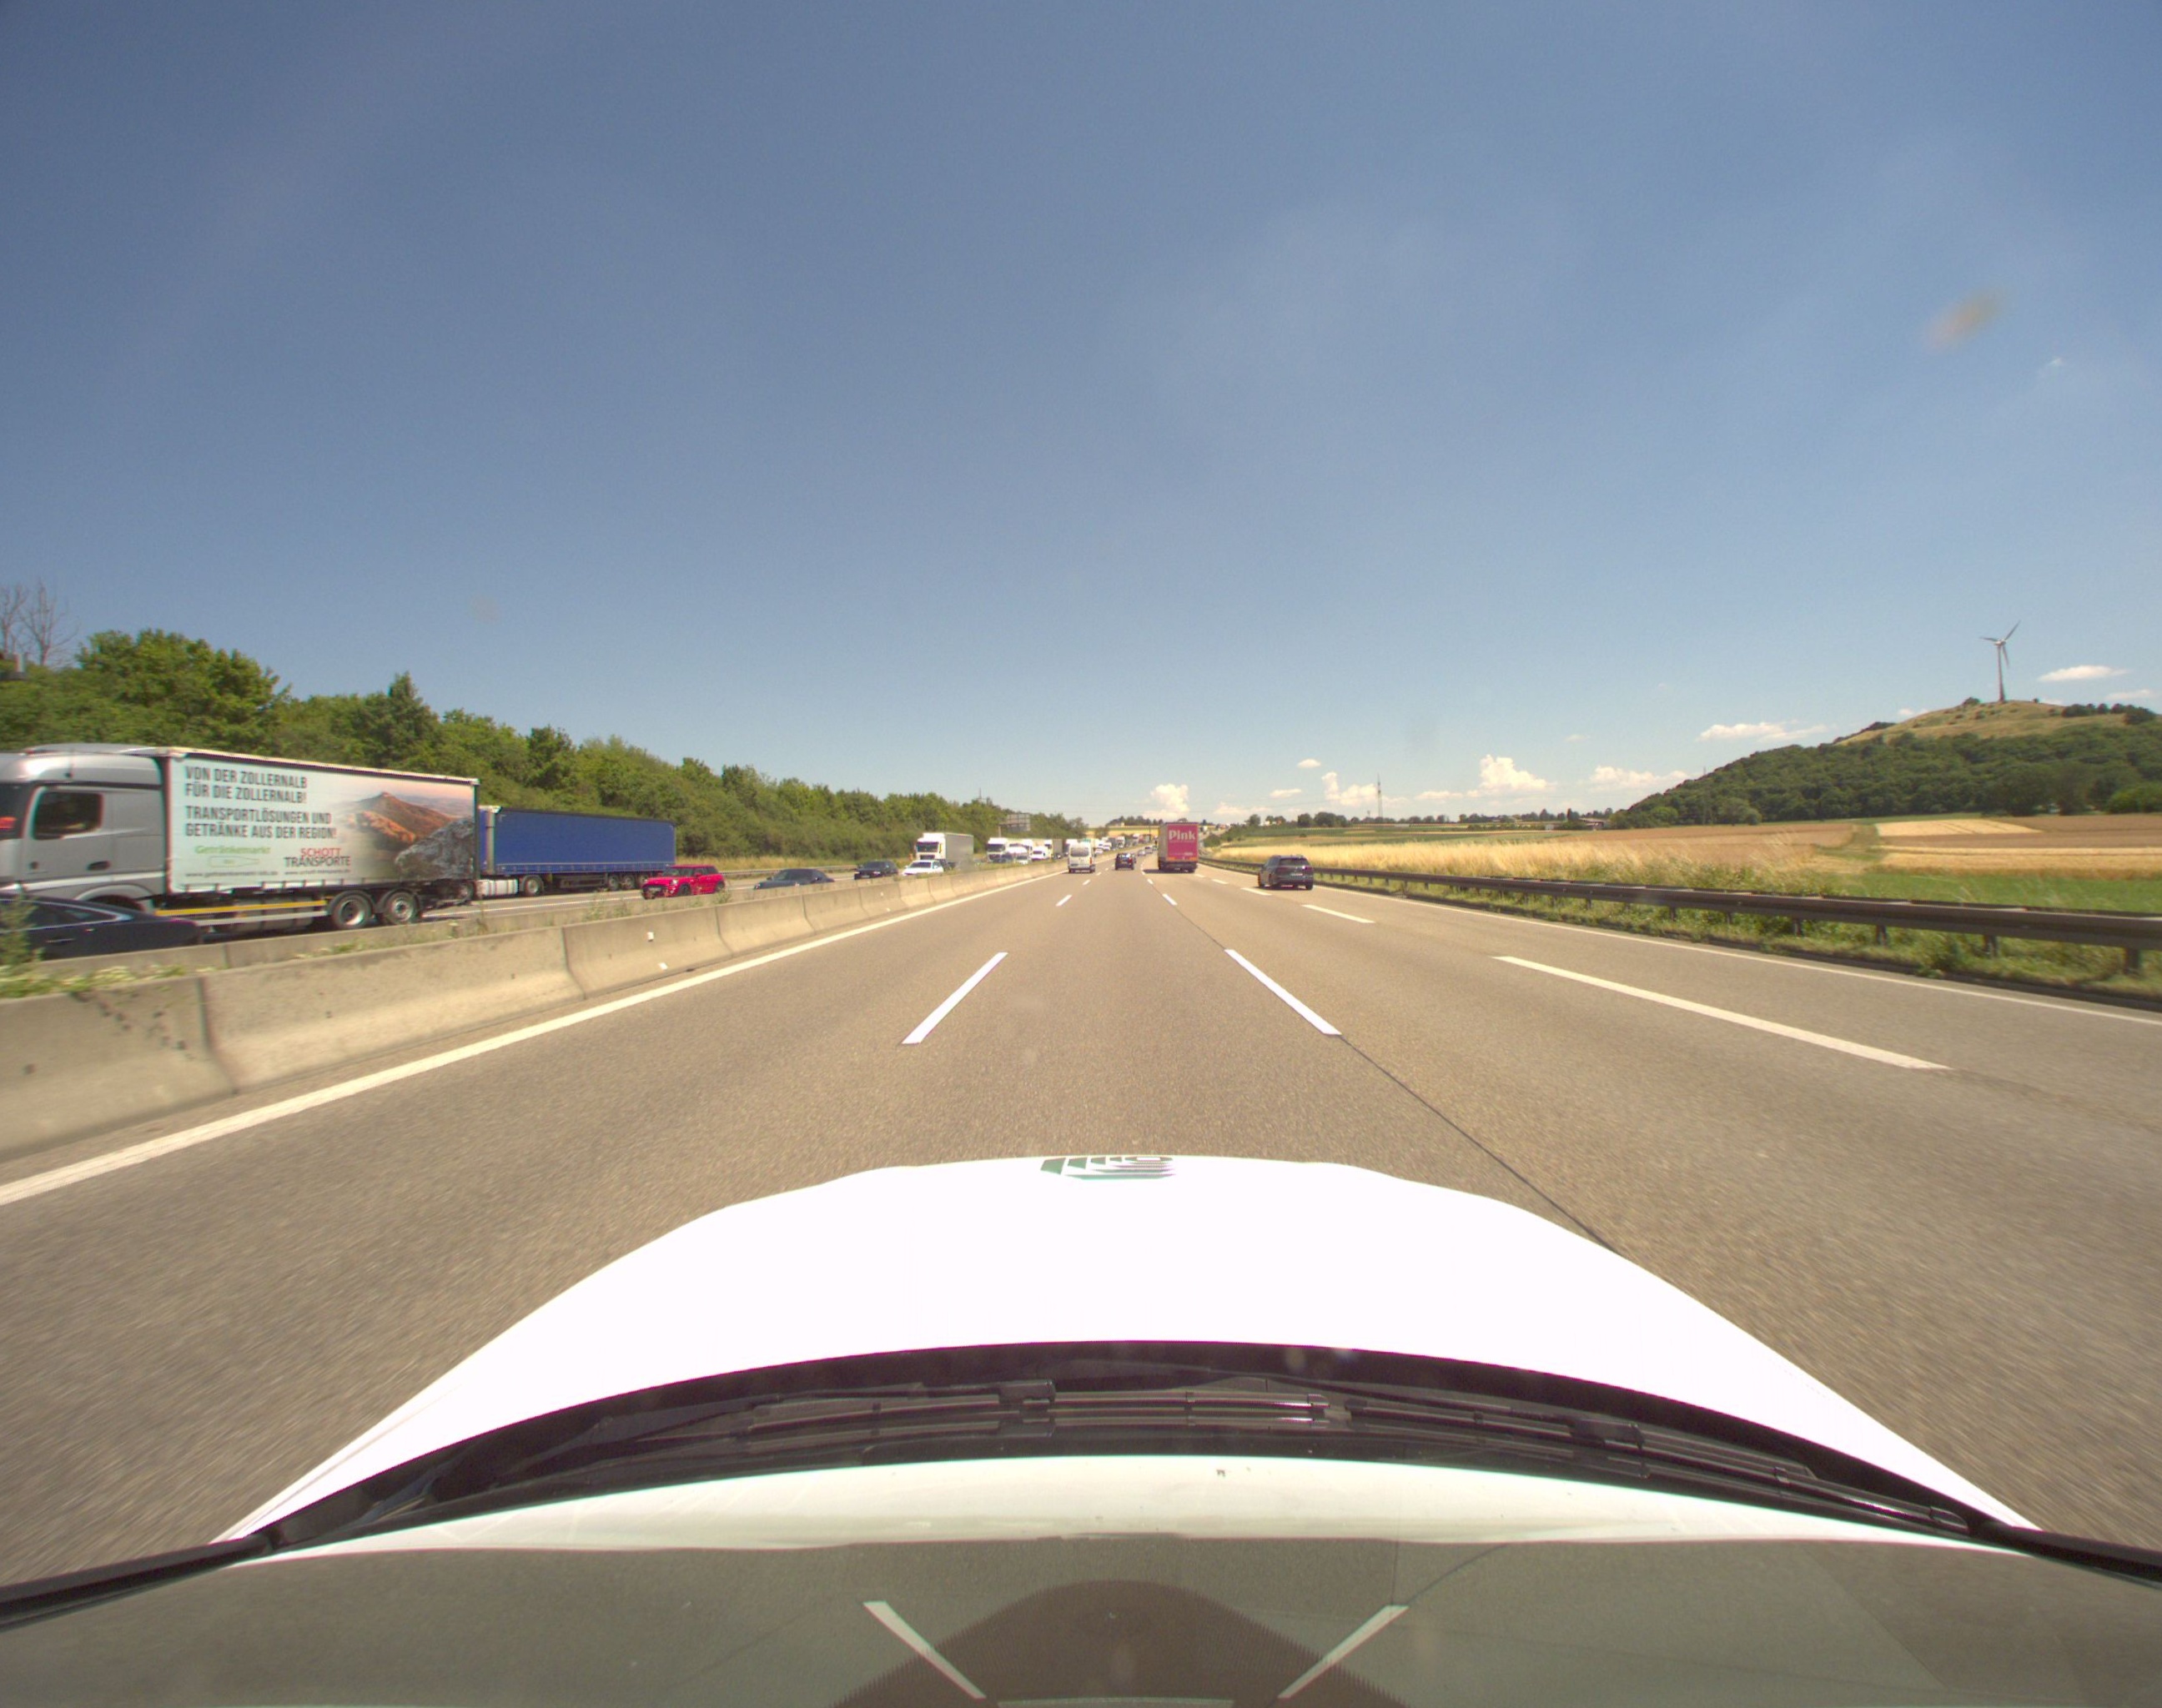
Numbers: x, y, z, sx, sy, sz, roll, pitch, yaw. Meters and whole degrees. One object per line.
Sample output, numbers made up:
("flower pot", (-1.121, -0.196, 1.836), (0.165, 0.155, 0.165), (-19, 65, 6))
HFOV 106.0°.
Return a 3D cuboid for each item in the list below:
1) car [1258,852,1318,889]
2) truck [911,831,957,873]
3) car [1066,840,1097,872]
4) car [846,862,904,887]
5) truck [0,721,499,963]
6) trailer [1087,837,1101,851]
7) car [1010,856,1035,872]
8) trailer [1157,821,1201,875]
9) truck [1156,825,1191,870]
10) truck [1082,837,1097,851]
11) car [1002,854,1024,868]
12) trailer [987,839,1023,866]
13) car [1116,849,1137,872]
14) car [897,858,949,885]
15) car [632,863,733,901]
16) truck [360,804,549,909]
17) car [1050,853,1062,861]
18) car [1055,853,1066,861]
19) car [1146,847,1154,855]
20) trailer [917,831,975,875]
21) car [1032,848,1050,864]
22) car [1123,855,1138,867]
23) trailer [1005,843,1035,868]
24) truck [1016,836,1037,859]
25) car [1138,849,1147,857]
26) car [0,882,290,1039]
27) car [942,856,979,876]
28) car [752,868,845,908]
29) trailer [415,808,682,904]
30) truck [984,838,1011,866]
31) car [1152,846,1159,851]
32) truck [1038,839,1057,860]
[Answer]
("car", (8.774, 0.680, 34.854), (1.753, 1.471, 4.542), (0, 0, 5))
("truck", (-15.329, -0.235, 85.209), (3.185, 4.132, 6.190), (-1, 0, 4))
("car", (0.122, 0.180, 67.890), (2.169, 2.625, 4.678), (0, -1, 5))
("car", (-13.100, 1.299, 52.154), (1.867, 1.450, 4.643), (-1, 0, 9))
("truck", (-18.617, -0.163, 18.424), (2.997, 3.917, 10.363), (-1, 0, 3))
("trailer", (4.032, -3.222, 251.065), (2.903, 4.071, 8.252), (-2, 1, 9))
("car", (-6.641, 1.148, 92.770), (1.831, 1.677, 4.451), (-1, 0, 8))
("trailer", (8.213, -0.563, 69.917), (2.906, 4.117, 13.872), (-1, 1, 3))
("truck", (8.670, -0.638, 76.925), (2.904, 4.008, 6.516), (-1, 1, 3))
("truck", (2.598, -3.047, 241.398), (2.826, 3.898, 11.276), (-2, 1, 9))
("car", (-8.635, 0.850, 104.045), (2.098, 1.723, 4.934), (-1, 0, 2))
("trailer", (-11.710, -0.282, 126.618), (2.889, 3.873, 13.898), (-1, 0, 5))
("car", (4.417, 0.588, 78.133), (1.839, 1.860, 4.212), (-1, 3, 5))
("car", (-9.646, 1.026, 50.220), (1.986, 1.520, 5.154), (-1, 0, 2))
("car", (-16.487, 1.104, 33.940), (1.738, 1.404, 4.220), (-1, 0, 7))
("truck", (-26.198, 0.066, 34.506), (3.075, 4.029, 6.099), (0, 0, 3))
("car", (-4.884, 0.602, 158.961), (1.867, 1.434, 4.931), (0, 0, 5))
("car", (-4.776, 0.699, 191.857), (1.982, 1.726, 4.416), (-1, 0, 8))
("car", (17.609, -0.839, 207.581), (1.983, 1.904, 4.007), (-1, 0, 7))
("trailer", (-14.940, -0.122, 91.639), (3.207, 4.421, 13.795), (-1, 0, 4))
("car", (-6.666, 0.274, 135.316), (1.888, 2.574, 7.583), (-1, 0, 5))
("car", (7.066, 0.987, 116.842), (1.983, 1.750, 4.006), (0, -1, 6))
("trailer", (-8.307, 0.266, 111.783), (2.858, 3.183, 10.735), (0, 0, 2))
("truck", (-9.723, -1.210, 145.728), (2.742, 4.042, 6.107), (0, 1, 5))
("car", (13.643, -0.247, 181.639), (1.984, 1.585, 4.005), (-2, 0, 4))
("car", (-11.514, 1.094, 8.420), (1.836, 1.470, 4.834), (0, 0, 2))
("car", (-9.243, 0.918, 62.907), (1.986, 1.445, 4.795), (-1, 0, 2))
("car", (-10.320, 1.213, 30.098), (1.784, 1.276, 4.224), (-1, 0, 2))
("trailer", (-25.754, 0.030, 41.167), (3.067, 3.971, 14.510), (0, 0, 4))
("truck", (-12.282, -0.336, 120.494), (2.834, 4.006, 5.983), (-1, 0, 5))
("car", (22.563, -1.801, 245.425), (1.984, 1.310, 4.007), (-1, 2, 6))
("truck", (-6.861, -0.972, 168.621), (2.946, 4.209, 6.618), (0, 0, 7))
